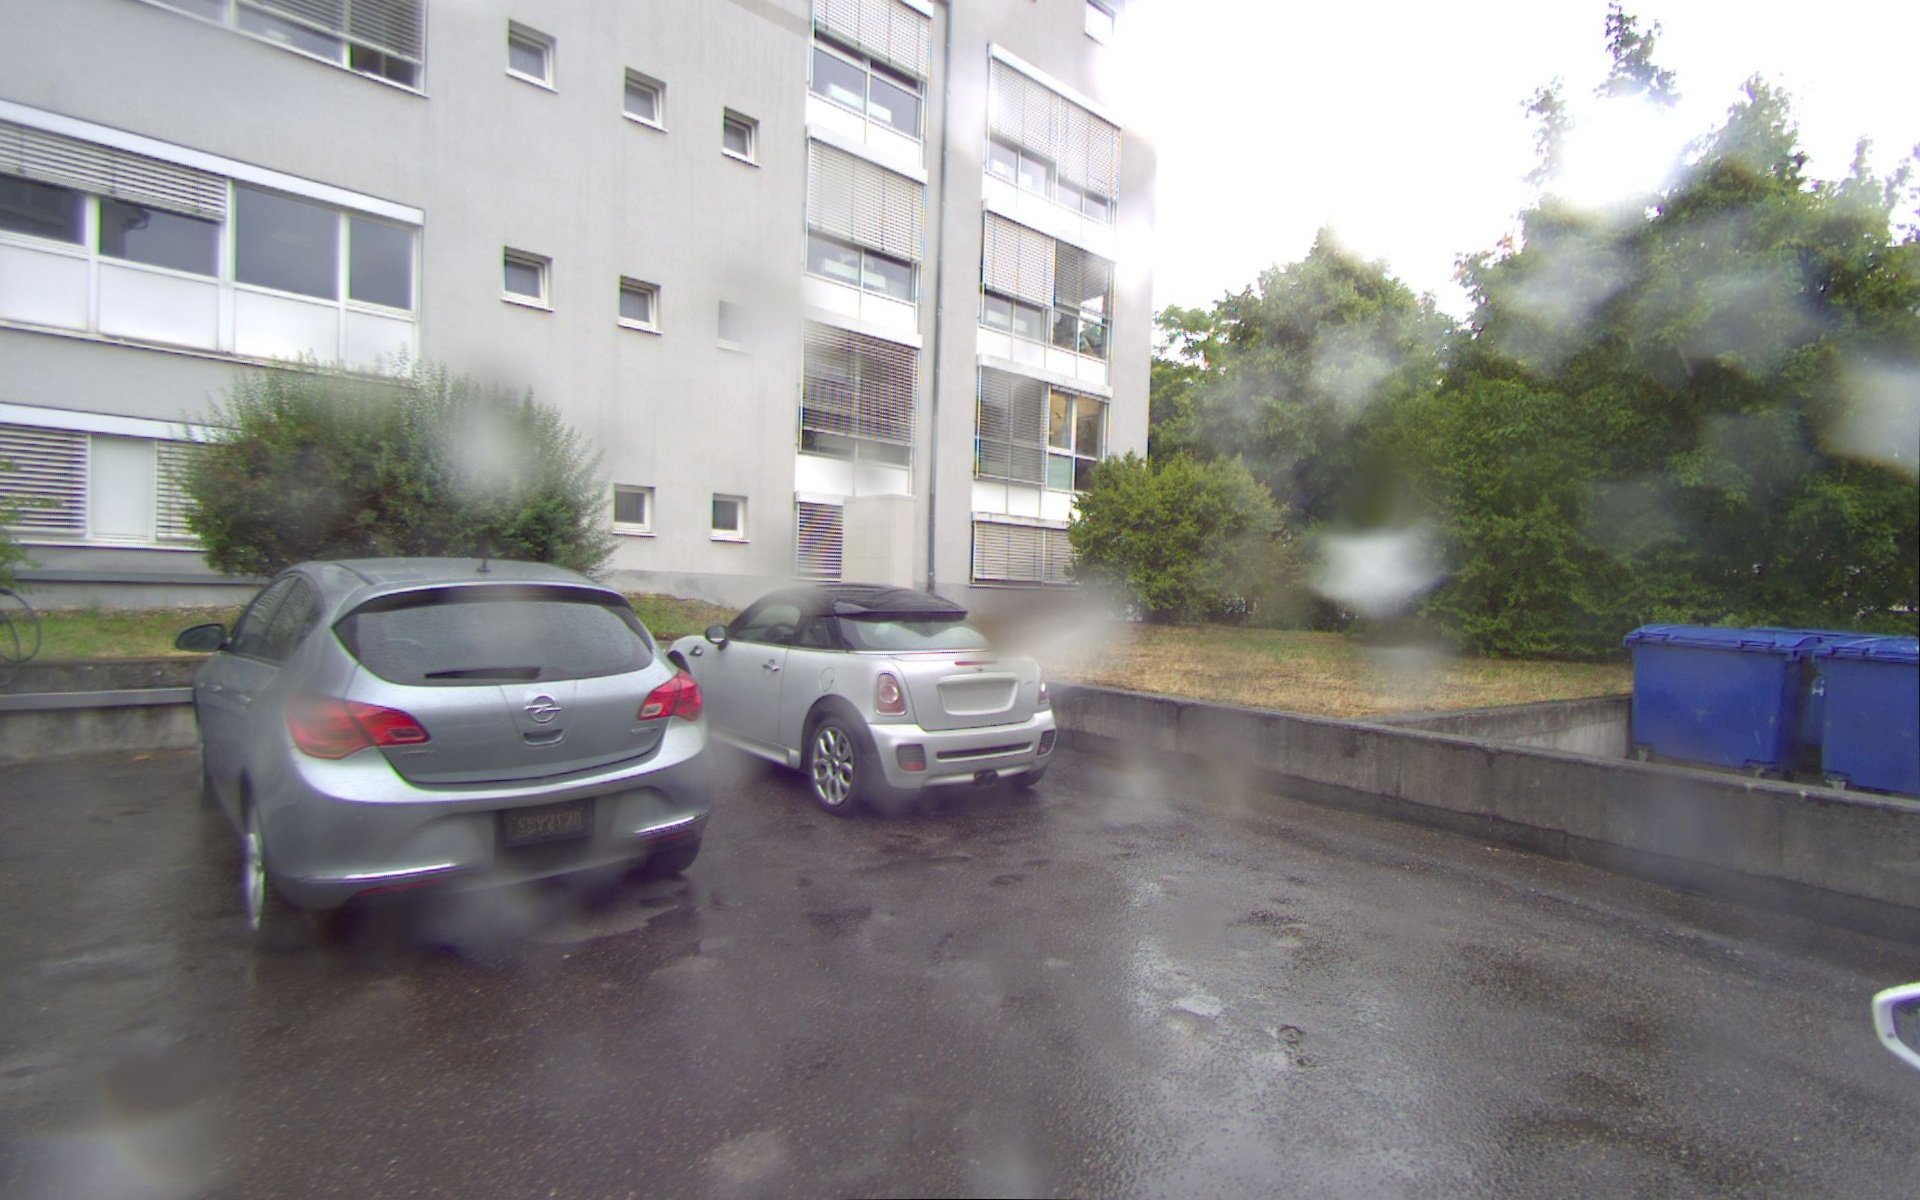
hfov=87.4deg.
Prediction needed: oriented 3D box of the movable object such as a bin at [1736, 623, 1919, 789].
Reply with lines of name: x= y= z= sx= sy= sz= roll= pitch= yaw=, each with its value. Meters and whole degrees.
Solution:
movable object such as a bin: x=8.163 y=0.923 z=9.365 sx=0.997 sy=1.355 sz=1.213 roll=0 pitch=2 yaw=-36

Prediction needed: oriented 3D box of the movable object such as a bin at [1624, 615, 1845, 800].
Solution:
movable object such as a bin: x=6.660 y=0.856 z=8.669 sx=1.106 sy=1.355 sz=1.194 roll=-1 pitch=4 yaw=-36

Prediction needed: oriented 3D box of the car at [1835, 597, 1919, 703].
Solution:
car: x=20.013 y=0.994 z=19.106 sx=1.980 sy=2.040 sz=4.748 roll=1 pitch=0 yaw=-35

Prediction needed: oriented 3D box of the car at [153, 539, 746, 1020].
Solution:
car: x=-2.967 y=0.502 z=5.282 sx=1.808 sy=1.503 sz=4.127 roll=0 pitch=2 yaw=-42

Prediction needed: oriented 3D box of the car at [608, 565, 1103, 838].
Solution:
car: x=-1.065 y=0.522 z=7.809 sx=1.807 sy=1.351 sz=4.129 roll=0 pitch=4 yaw=-40

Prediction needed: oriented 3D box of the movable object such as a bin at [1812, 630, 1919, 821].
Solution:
movable object such as a bin: x=7.448 y=0.943 z=7.621 sx=1.104 sy=1.355 sz=1.196 roll=2 pitch=1 yaw=-32
